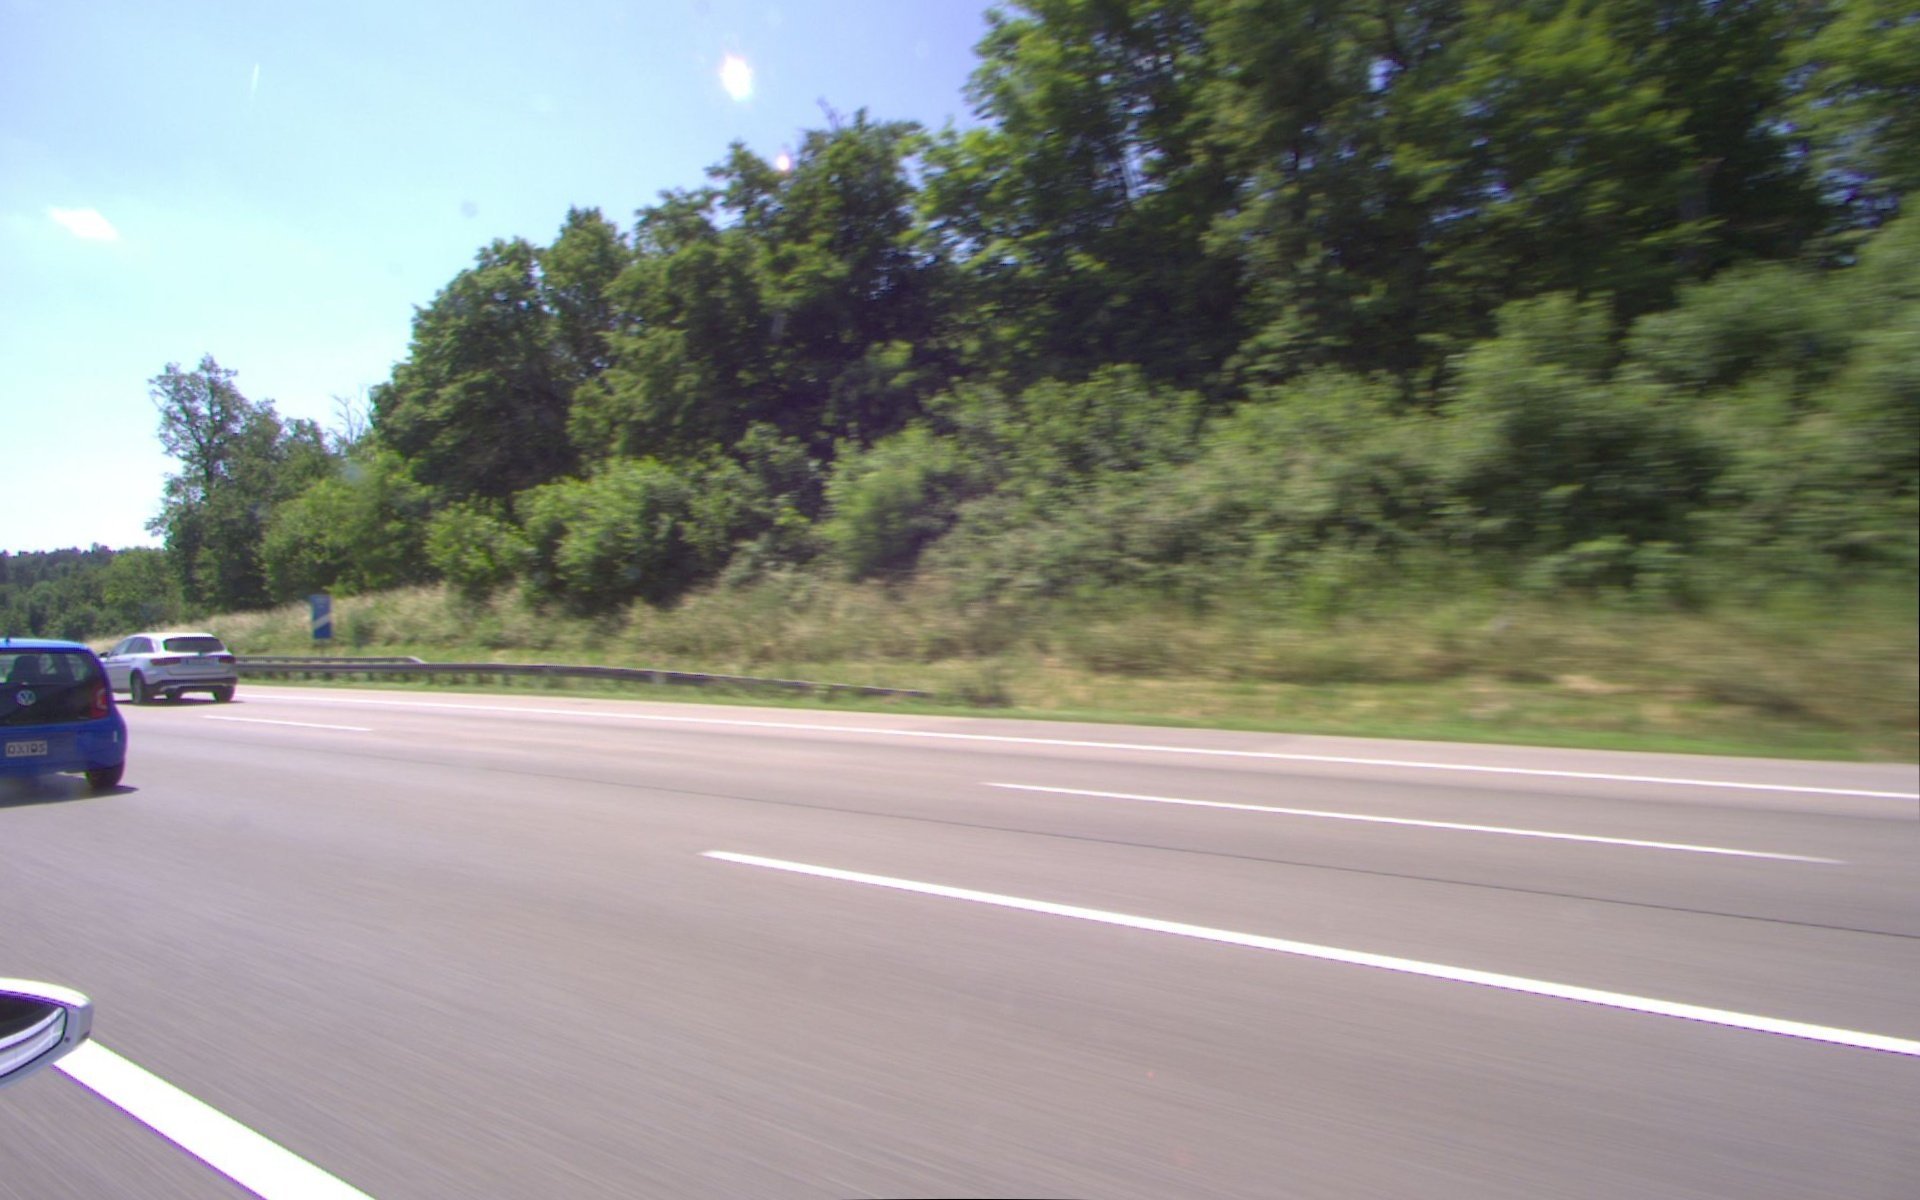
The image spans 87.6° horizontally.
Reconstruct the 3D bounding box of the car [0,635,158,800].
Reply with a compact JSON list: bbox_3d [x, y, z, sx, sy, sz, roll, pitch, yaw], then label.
[{"bbox_3d":[-9.931,1.088,10.093,3.944,1.429,1.734,-2,-1,33],"label":"car"}]

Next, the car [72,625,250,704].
[{"bbox_3d":[-19.609,1.506,24.506,5.164,1.753,1.798,-1,-2,32],"label":"car"}]
